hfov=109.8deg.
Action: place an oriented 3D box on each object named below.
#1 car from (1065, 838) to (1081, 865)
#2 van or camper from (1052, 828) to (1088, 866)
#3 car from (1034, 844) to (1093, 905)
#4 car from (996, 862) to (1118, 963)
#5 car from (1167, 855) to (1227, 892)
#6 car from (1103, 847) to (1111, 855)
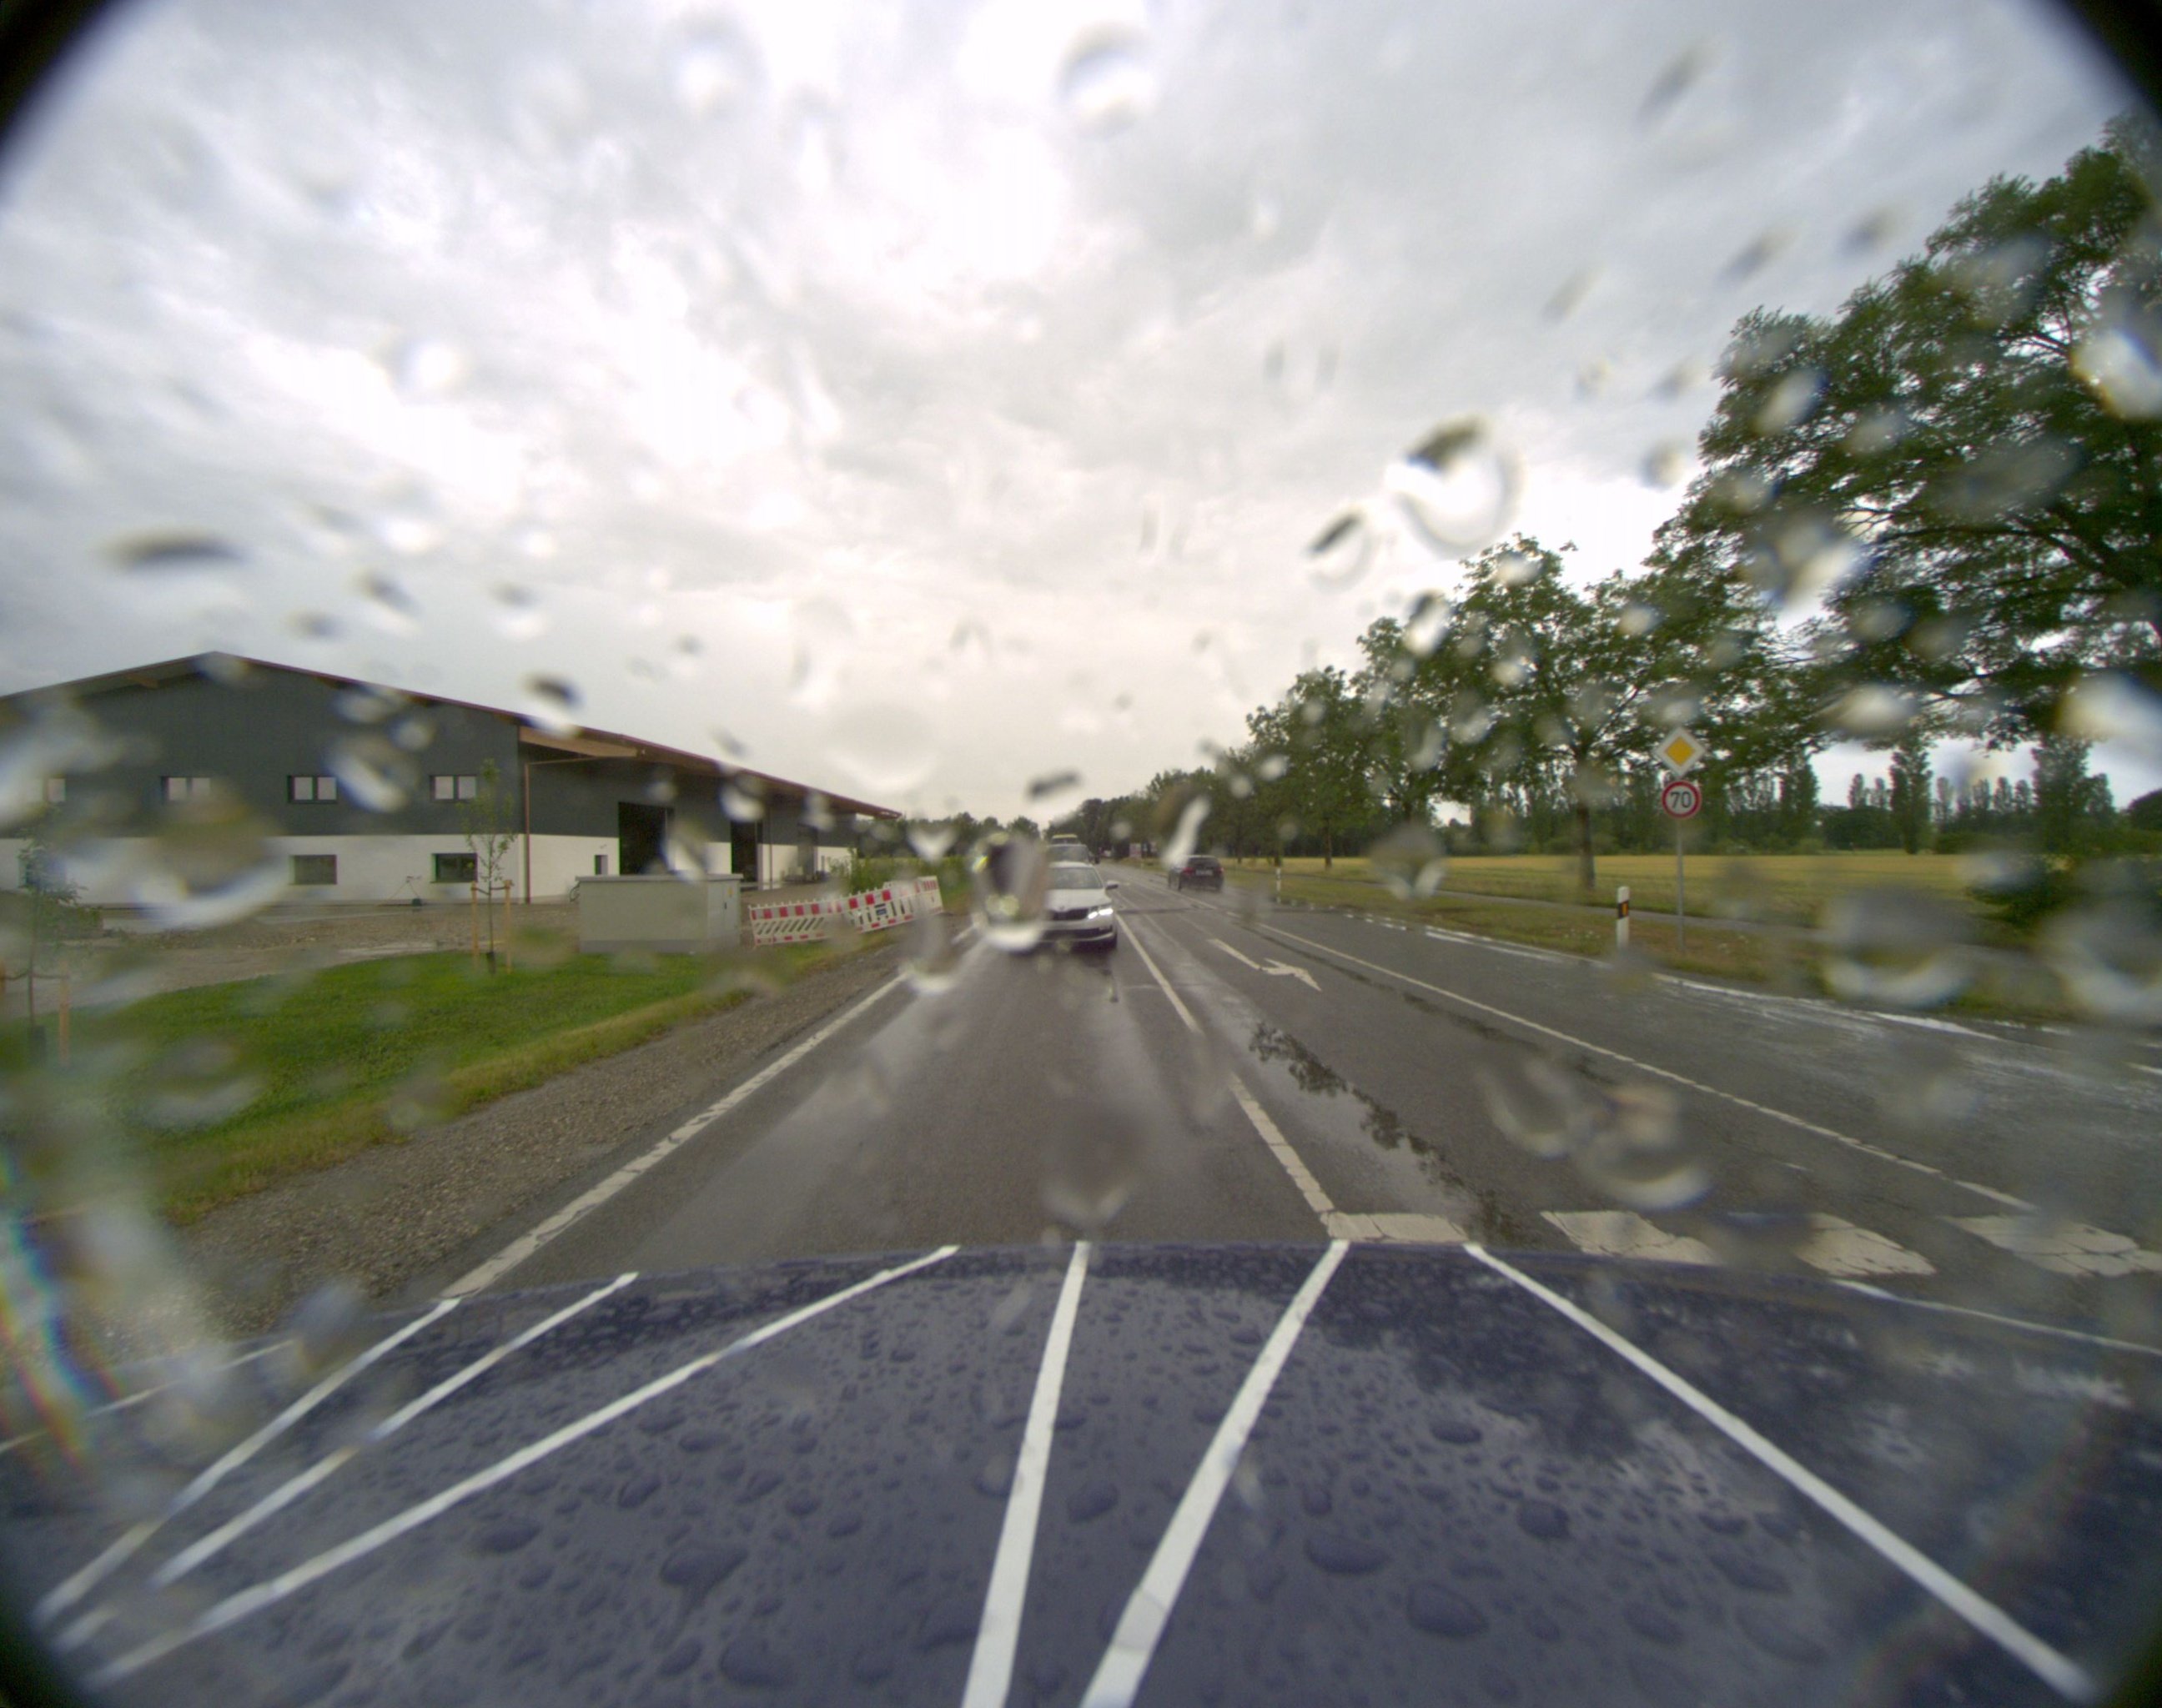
[{"bbox_3d":[-0.927,-0.304,89.079,1.771,3.134,4.027,-1,0,-1],"label":"car"},{"bbox_3d":[-1.096,-0.659,77.335,3.342,3.624,8.371,-1,1,-1],"label":"van or camper"},{"bbox_3d":[-0.571,0.622,26.039,1.841,1.888,4.575,-1,1,-1],"label":"car"},{"bbox_3d":[-0.382,0.907,13.688,1.770,1.365,4.575,-2,1,-1],"label":"car"},{"bbox_3d":[4.847,0.764,32.348,1.770,1.429,4.412,1,0,-1],"label":"car"},{"bbox_3d":[6.800,-0.829,200.519,1.998,2.002,4.000,-1,0,1],"label":"car"}]
